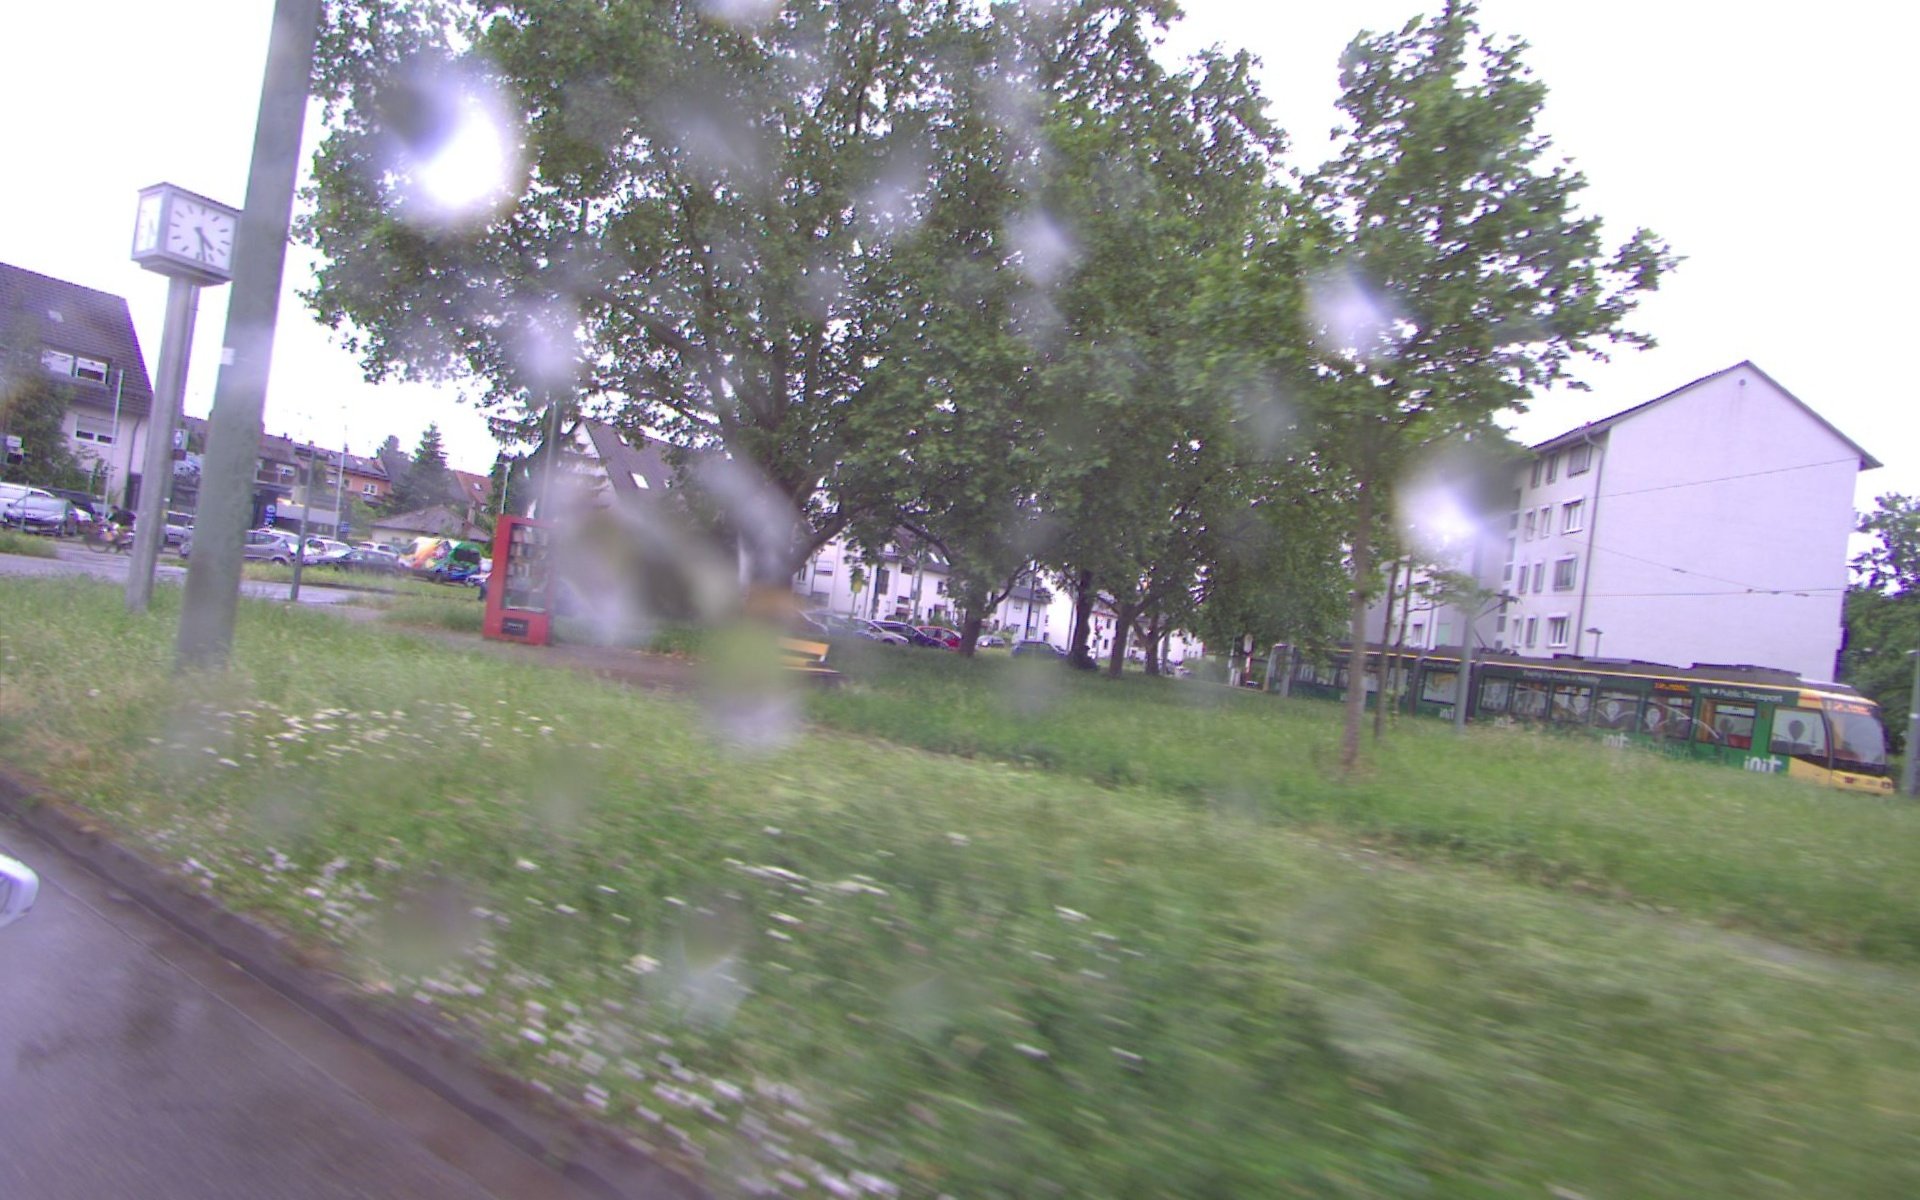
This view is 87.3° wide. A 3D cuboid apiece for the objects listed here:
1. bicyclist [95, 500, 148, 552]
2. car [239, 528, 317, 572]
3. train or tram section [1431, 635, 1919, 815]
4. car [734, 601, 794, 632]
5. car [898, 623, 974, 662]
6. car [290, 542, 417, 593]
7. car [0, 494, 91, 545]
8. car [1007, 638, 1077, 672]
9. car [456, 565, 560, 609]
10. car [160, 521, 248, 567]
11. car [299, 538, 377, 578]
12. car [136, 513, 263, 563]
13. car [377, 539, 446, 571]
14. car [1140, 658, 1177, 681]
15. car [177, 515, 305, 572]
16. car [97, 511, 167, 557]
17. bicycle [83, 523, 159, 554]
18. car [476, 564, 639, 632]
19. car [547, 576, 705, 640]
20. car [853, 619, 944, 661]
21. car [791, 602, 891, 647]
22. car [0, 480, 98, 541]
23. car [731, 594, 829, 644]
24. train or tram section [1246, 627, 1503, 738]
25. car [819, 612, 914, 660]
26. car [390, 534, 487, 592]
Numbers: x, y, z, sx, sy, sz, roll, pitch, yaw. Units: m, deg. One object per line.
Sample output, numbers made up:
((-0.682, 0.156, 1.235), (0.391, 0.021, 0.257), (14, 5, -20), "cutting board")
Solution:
((-29.486, -2.586, 35.367), (0.933, 1.617, 1.041), (7, 0, 29), "bicyclist")
((-32.320, -2.375, 47.661), (3.559, 1.590, 1.721), (7, -3, 34), "car")
((21.261, 3.362, 31.963), (2.672, 3.630, 14.710), (9, -2, -12), "train or tram section")
((-13.132, 1.141, 67.681), (1.579, 1.438, 3.943), (7, -4, 31), "car")
((-1.161, 2.094, 49.813), (3.530, 1.497, 1.639), (6, -1, 4), "car")
((-26.461, -1.390, 44.043), (1.693, 1.352, 4.391), (7, -5, 29), "car")
((-36.388, -3.152, 40.085), (1.816, 1.520, 4.027), (10, -4, -31), "car")
((4.893, 3.289, 60.442), (3.926, 1.501, 1.999), (7, 0, -1), "car")
((-21.265, -0.601, 47.471), (1.966, 1.493, 3.996), (7, -1, 29), "car")
((-33.820, -2.508, 44.968), (3.808, 1.598, 1.804), (7, -1, 32), "car")
((-30.776, -2.073, 49.736), (3.780, 1.411, 1.721), (7, -4, 34), "car")
((-36.382, -2.937, 48.260), (1.732, 1.707, 4.439), (6, -2, 32), "car")
((-38.176, -3.094, 70.180), (1.759, 1.599, 4.452), (7, -2, 9), "car")
((17.421, 6.100, 88.015), (1.928, 1.570, 3.998), (5, -4, 29), "car")
((-28.743, -2.229, 40.325), (1.693, 1.520, 3.645), (7, -4, 29), "car")
((-34.912, -2.814, 42.374), (1.825, 1.520, 4.009), (11, -4, -43), "car")
((-29.521, -2.165, 35.423), (0.926, 0.796, 1.818), (7, -1, 29), "bicycle")
((-12.195, -0.036, 30.672), (4.100, 1.493, 1.805), (8, -1, 0), "car")
((-10.962, 0.282, 33.223), (4.464, 1.493, 1.806), (8, -1, 5), "car")
((-2.837, 1.860, 47.083), (4.047, 1.497, 1.867), (6, -1, -1), "car")
((-4.932, 1.050, 41.935), (3.928, 1.518, 1.824), (5, -3, -6), "car")
((-40.050, -3.911, 42.938), (1.967, 2.037, 4.439), (6, -2, 32), "car")
((-6.947, 0.773, 39.038), (3.454, 1.523, 1.755), (6, -3, -5), "car")
((18.227, 3.411, 46.373), (2.672, 3.630, 14.710), (9, -2, -12), "train or tram section")
((-4.144, 1.599, 44.221), (3.931, 1.570, 1.961), (7, -3, -7), "car")
((-29.056, -2.073, 56.044), (5.062, 2.432, 2.152), (7, -3, 30), "car")
